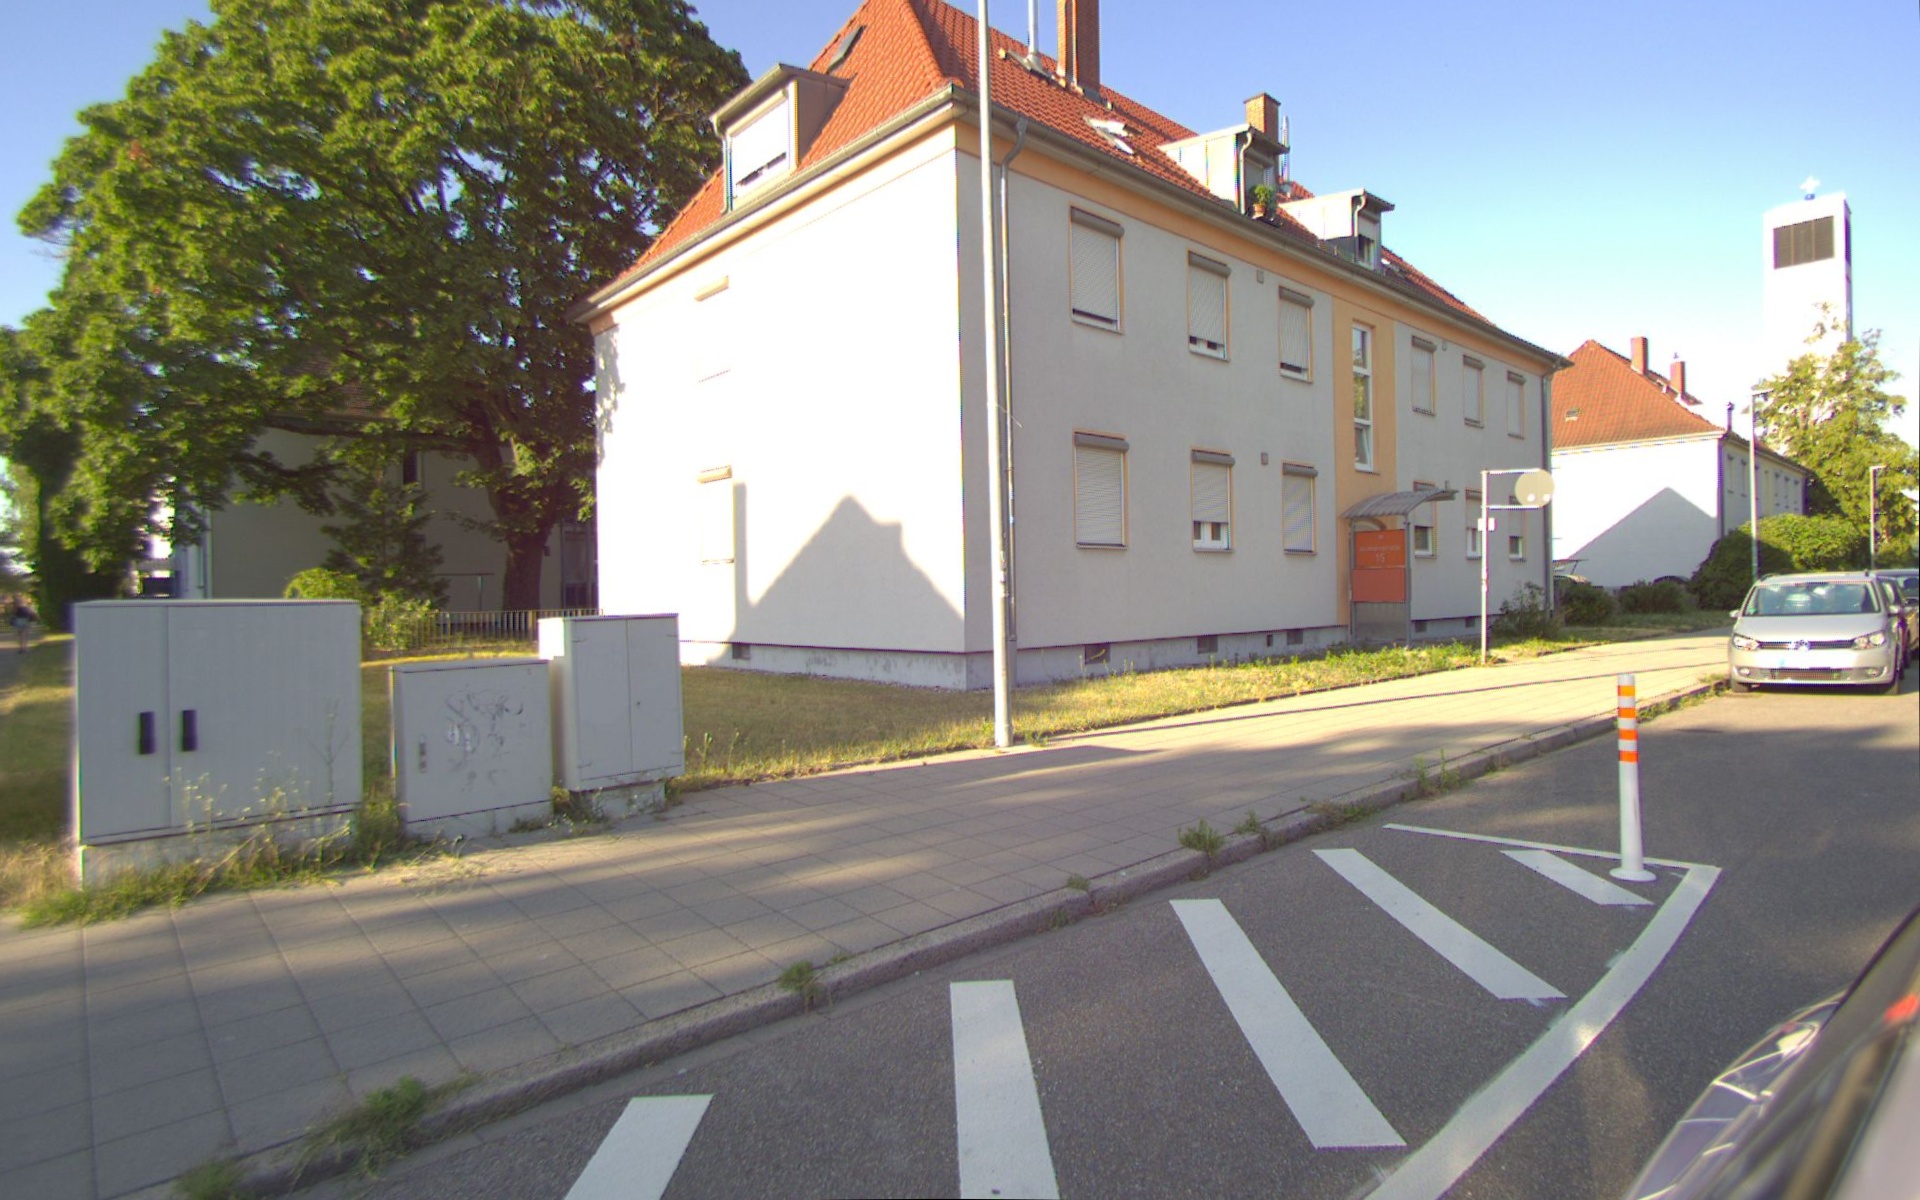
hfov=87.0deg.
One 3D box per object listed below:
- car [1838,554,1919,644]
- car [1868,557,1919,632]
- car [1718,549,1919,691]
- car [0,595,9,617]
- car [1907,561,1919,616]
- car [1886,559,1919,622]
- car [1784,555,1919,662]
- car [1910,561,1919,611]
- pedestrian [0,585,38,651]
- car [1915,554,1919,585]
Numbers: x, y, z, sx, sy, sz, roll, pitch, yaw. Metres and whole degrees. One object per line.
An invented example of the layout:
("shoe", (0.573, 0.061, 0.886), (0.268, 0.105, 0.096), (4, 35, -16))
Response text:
("car", (19.742, -0.065, 21.067), (3.935, 1.717, 1.845), (-2, -1, -44))
("car", (23.497, -0.179, 24.584), (3.935, 1.717, 1.845), (-2, -1, -44))
("car", (12.269, 0.222, 14.320), (3.935, 1.717, 1.845), (-2, -1, -44))
("car", (-71.304, 0.469, 74.388), (1.939, 1.634, 4.238), (-2, 1, -43))
("car", (32.128, -0.450, 32.804), (3.935, 1.717, 1.845), (-2, -1, -44))
("car", (27.897, -0.339, 28.925), (3.935, 1.717, 1.845), (-2, -1, -44))
("car", (16.200, 0.108, 18.040), (3.935, 1.717, 1.845), (-2, -1, -44))
("car", (35.603, -0.573, 36.403), (3.935, 1.717, 1.845), (-2, -1, -44))
("pedestrian", (-30.065, 0.558, 32.305), (0.883, 2.039, 0.691), (-1, 0, -41))
("car", (56.293, -1.809, 58.134), (3.935, 1.717, 1.845), (-2, -1, -44))
